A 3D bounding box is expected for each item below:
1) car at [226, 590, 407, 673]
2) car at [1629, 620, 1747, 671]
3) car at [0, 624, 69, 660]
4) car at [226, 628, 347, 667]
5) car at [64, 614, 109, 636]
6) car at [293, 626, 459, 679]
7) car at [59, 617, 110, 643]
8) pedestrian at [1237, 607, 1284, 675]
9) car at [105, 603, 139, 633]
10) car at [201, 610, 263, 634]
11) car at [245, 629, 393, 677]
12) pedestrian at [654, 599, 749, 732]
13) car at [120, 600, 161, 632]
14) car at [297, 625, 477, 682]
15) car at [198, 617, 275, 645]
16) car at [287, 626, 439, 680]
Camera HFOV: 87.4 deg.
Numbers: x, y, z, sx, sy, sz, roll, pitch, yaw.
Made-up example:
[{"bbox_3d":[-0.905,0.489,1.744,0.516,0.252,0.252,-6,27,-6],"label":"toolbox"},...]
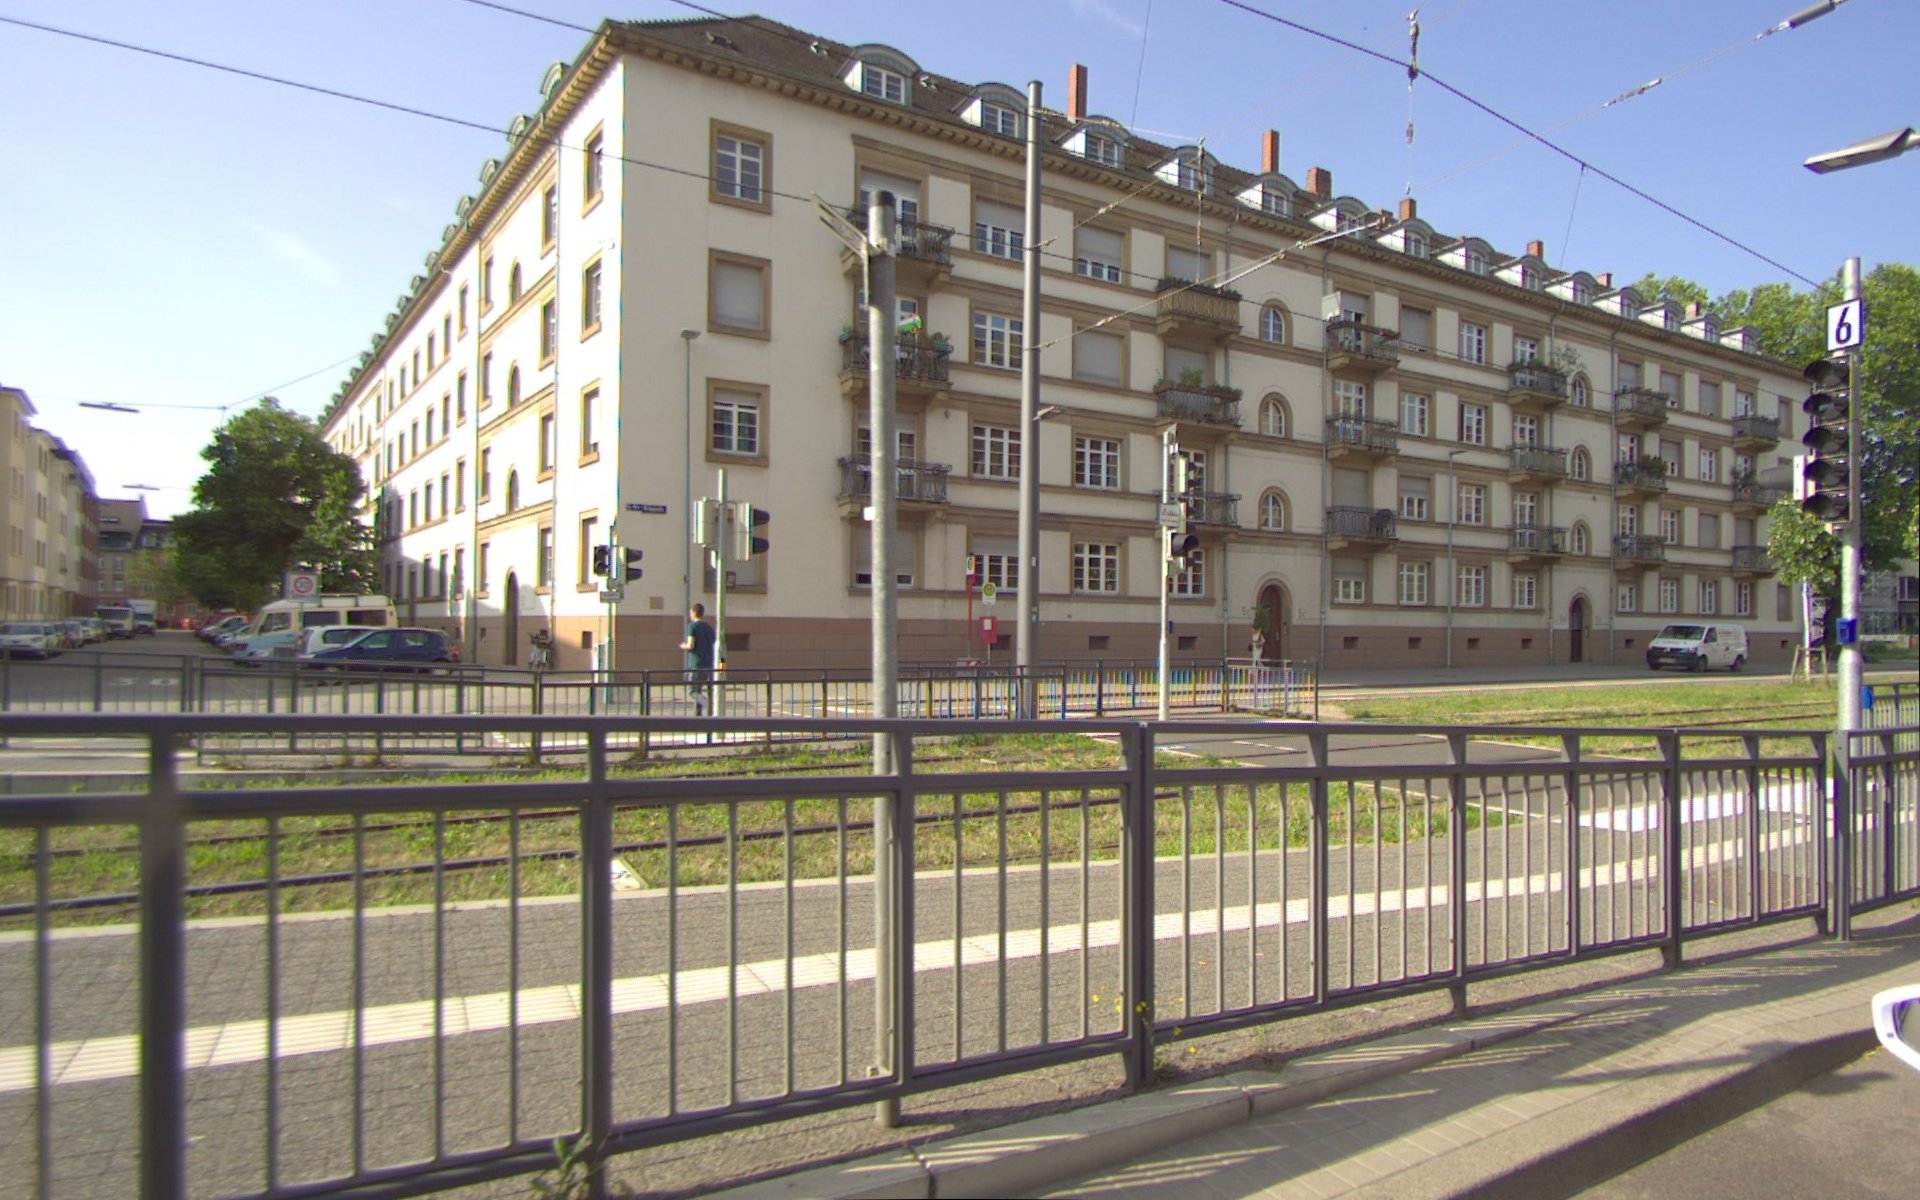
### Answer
[{"bbox_3d":[-21.657,1.068,33.939,5.006,2.617,1.979,1,-2,-37],"label":"car"},{"bbox_3d":[30.026,1.833,41.409,5.090,1.944,1.985,1,0,-29],"label":"car"},{"bbox_3d":[-38.332,1.700,41.464,1.811,1.394,3.961,1,-2,-35],"label":"car"},{"bbox_3d":[-26.268,1.818,39.265,3.857,1.434,1.662,1,-2,-35],"label":"car"},{"bbox_3d":[-56.263,1.613,64.721,1.811,1.394,3.960,1,-2,-36],"label":"car"},{"bbox_3d":[-16.596,1.451,28.603,3.960,1.424,1.662,1,-2,-35],"label":"car"},{"bbox_3d":[-49.965,1.706,57.403,1.811,1.394,3.960,1,-2,-36],"label":"car"},{"bbox_3d":[9.518,1.283,31.798,1.142,2.096,0.839,1,0,-29],"label":"pedestrian"},{"bbox_3d":[-67.682,1.449,81.181,1.811,2.342,4.071,1,-2,-36],"label":"car"},{"bbox_3d":[-60.155,1.842,83.019,4.029,1.873,1.954,2,-2,-38],"label":"car"},{"bbox_3d":[-20.448,1.668,32.122,3.887,1.434,1.662,1,-2,-35],"label":"car"},{"bbox_3d":[-3.854,0.946,14.998,1.053,1.892,0.862,0,-1,33],"label":"pedestrian"},{"bbox_3d":[-77.980,1.557,95.660,2.563,2.944,5.929,1,-2,-36],"label":"car"},{"bbox_3d":[-15.046,1.375,26.465,3.962,1.372,1.569,2,-2,-36],"label":"car"},{"bbox_3d":[-47.148,2.015,65.478,3.964,1.817,1.978,2,-2,-38],"label":"car"},{"bbox_3d":[-18.182,1.570,30.639,3.887,1.553,1.662,1,-2,-35],"label":"car"}]
